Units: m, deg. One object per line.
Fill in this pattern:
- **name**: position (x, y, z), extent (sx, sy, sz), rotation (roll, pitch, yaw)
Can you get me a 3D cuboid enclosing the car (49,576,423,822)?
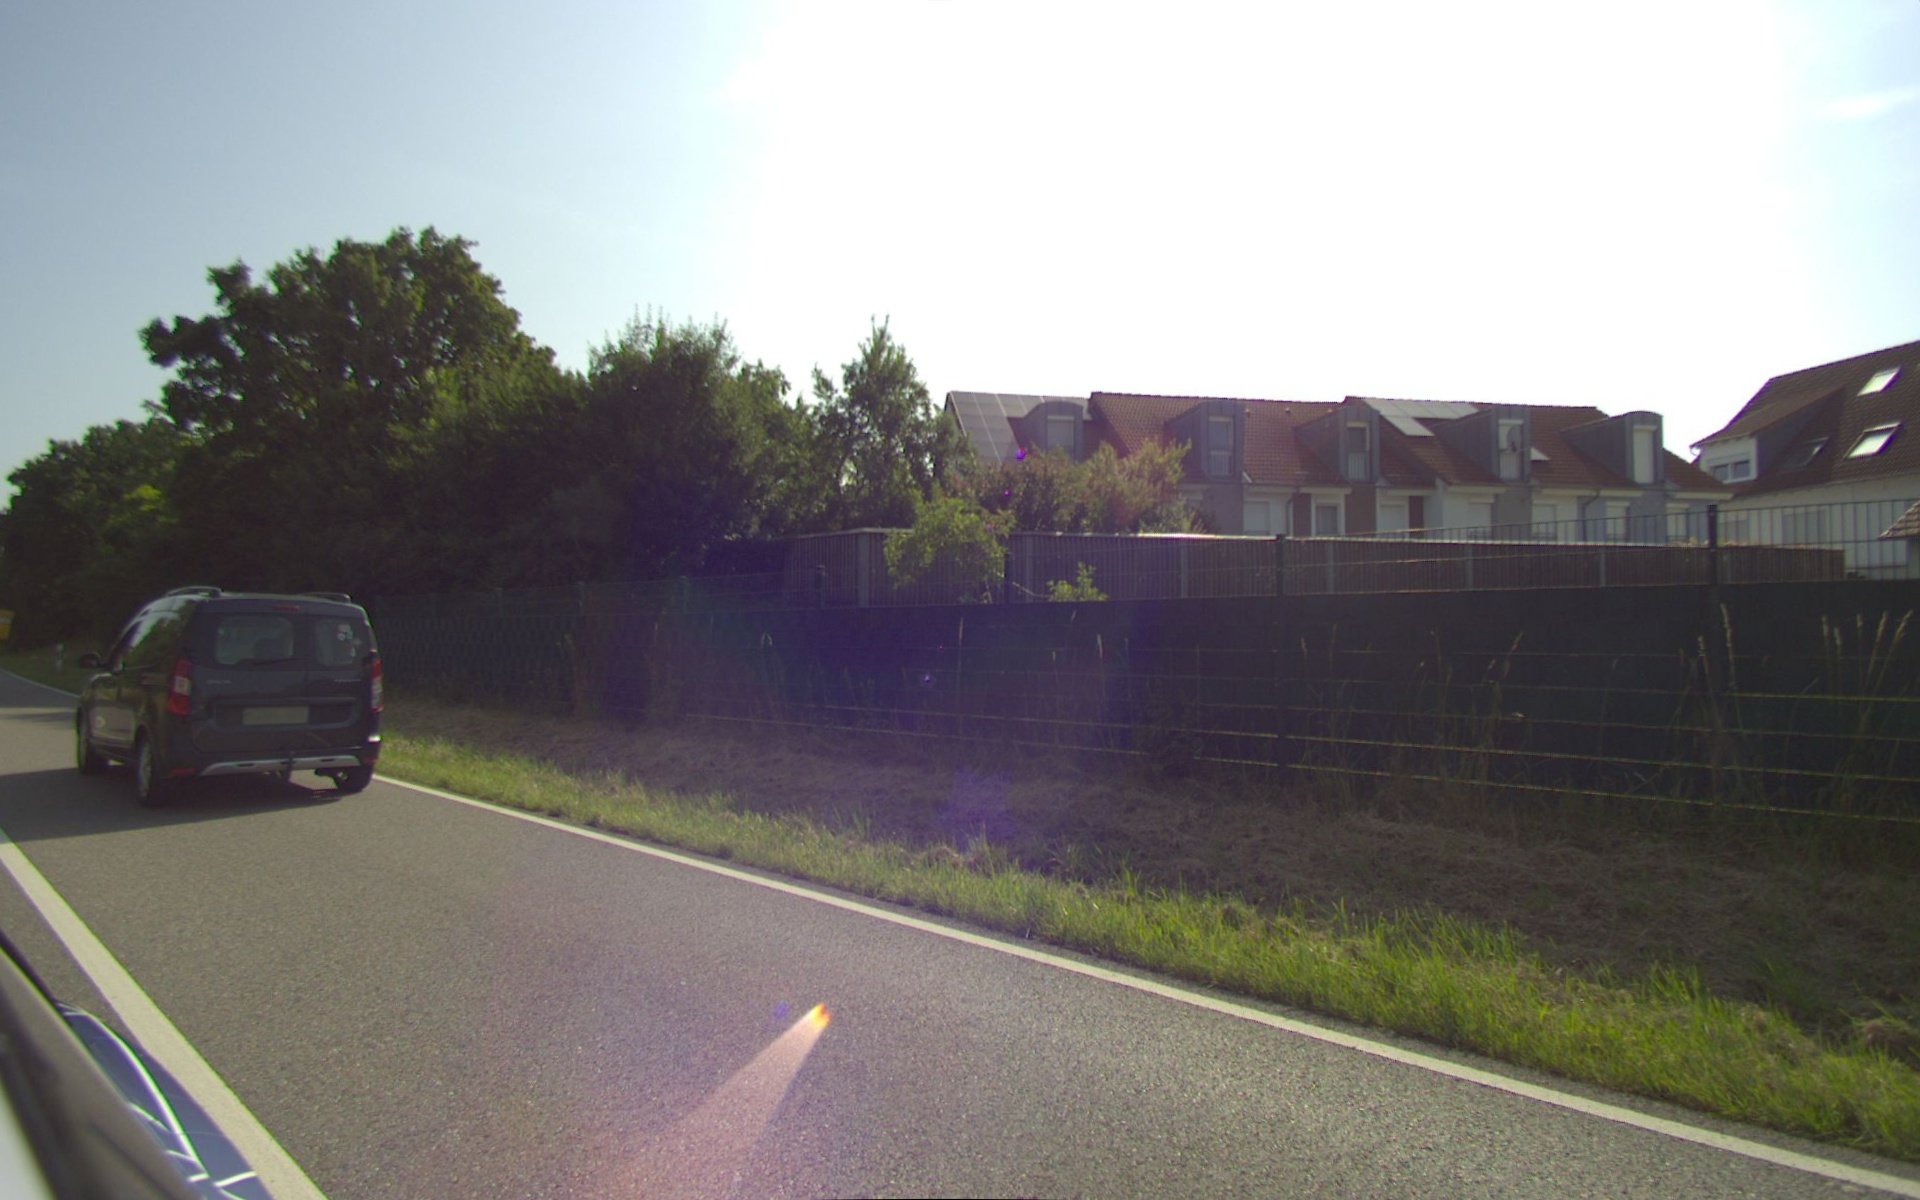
- **car**: position (-7.053, 0.832, 9.705), extent (4.239, 1.831, 1.919), rotation (-2, -4, 41)
